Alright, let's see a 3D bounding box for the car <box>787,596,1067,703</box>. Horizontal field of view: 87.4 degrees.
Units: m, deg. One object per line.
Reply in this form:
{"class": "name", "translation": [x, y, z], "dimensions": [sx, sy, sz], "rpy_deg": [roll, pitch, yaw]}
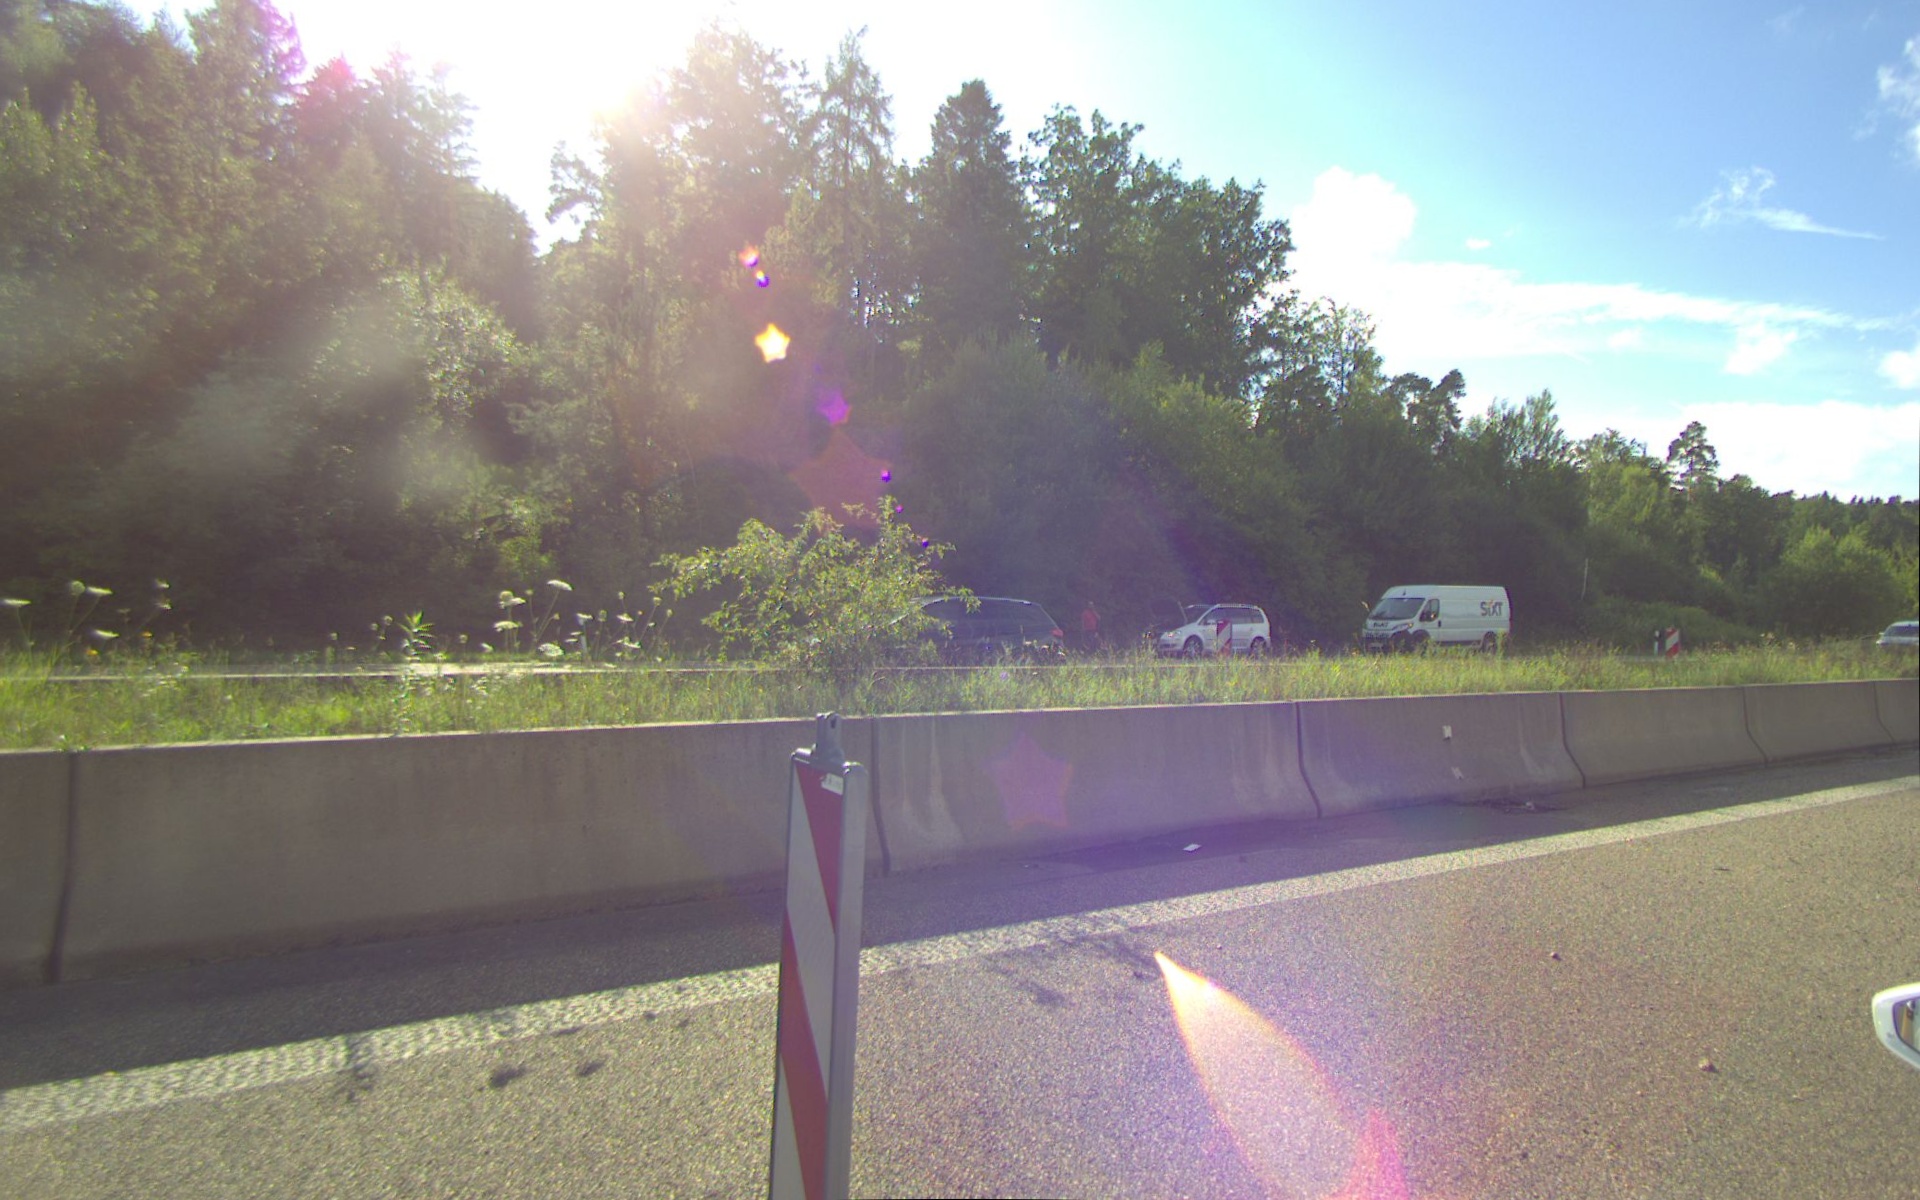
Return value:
{"class": "car", "translation": [-0.488, 0.748, 15.855], "dimensions": [4.057, 1.476, 1.769], "rpy_deg": [2, 0, -31]}

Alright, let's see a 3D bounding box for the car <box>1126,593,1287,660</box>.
{"class": "car", "translation": [7.421, 0.808, 30.105], "dimensions": [4.706, 1.878, 1.851], "rpy_deg": [2, 0, -31]}

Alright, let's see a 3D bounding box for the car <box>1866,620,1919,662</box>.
{"class": "car", "translation": [43.692, 1.907, 46.178], "dimensions": [4.314, 1.809, 1.769], "rpy_deg": [2, 0, -31]}

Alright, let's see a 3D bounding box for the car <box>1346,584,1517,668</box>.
{"class": "car", "translation": [16.382, 0.920, 34.762], "dimensions": [6.447, 2.720, 2.018], "rpy_deg": [2, 0, -31]}
